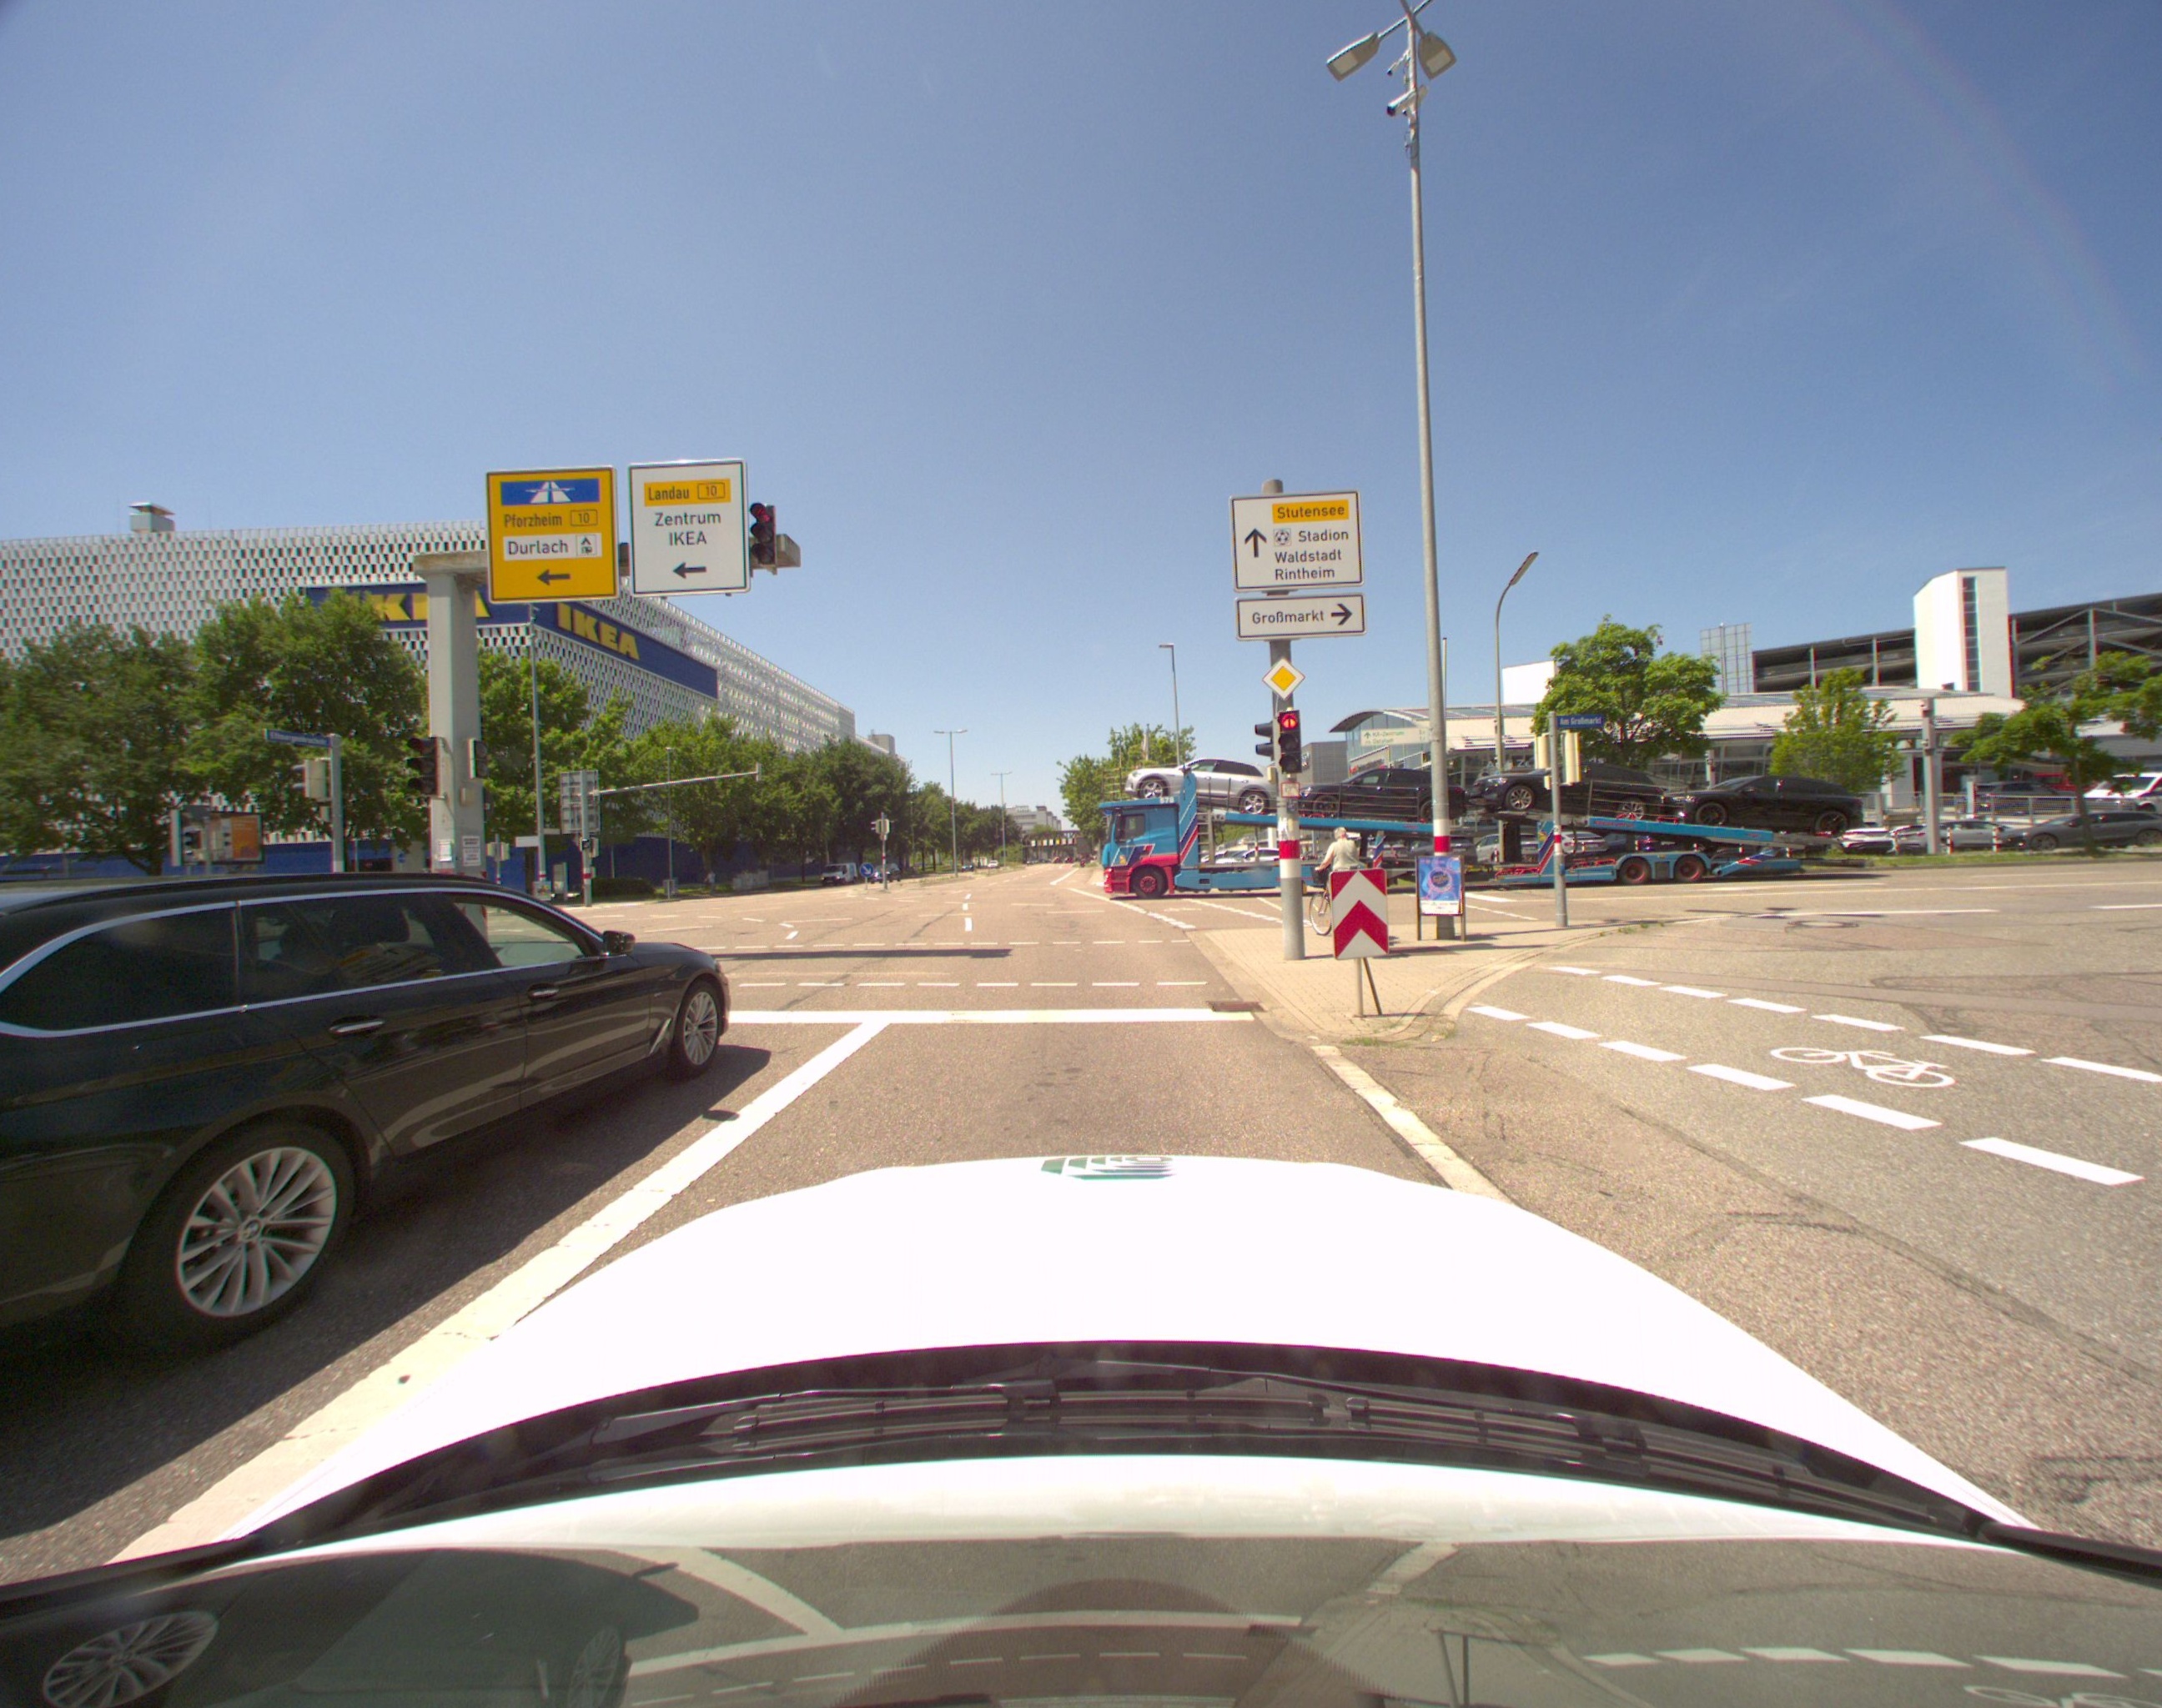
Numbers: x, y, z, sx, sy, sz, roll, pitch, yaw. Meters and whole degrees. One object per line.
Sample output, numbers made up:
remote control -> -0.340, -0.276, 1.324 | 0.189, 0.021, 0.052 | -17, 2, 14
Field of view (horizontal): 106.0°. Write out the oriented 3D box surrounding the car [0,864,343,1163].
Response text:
car -> -6.412, 0.847, 4.167 | 1.795, 1.494, 3.993 | -1, 0, -5

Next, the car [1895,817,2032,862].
car -> 38.791, -0.630, 35.935 | 3.665, 1.777, 1.759 | -3, 0, 28

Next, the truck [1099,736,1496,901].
truck -> 6.068, -0.932, 24.132 | 10.554, 4.082, 3.109 | -2, 1, 9

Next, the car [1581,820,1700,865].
car -> 22.889, -0.447, 33.537 | 1.821, 1.639, 4.475 | -3, 0, 1

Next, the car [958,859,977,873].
car -> -17.290, 1.815, 124.630 | 1.984, 2.014, 4.005 | -2, -2, 5

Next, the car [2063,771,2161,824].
car -> 45.192, -2.429, 34.322 | 5.110, 2.013, 2.000 | -3, 0, 1

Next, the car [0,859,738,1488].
car -> -3.493, 0.797, 3.781 | 1.794, 1.466, 4.622 | -1, 0, 0

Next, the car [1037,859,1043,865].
car -> -11.867, 2.342, 237.185 | 1.644, 1.653, 4.161 | -3, 0, -1

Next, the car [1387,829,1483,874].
car -> 14.498, -0.107, 33.669 | 1.987, 1.639, 4.558 | -3, 0, 1

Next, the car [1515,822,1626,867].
car -> 20.031, -0.389, 33.587 | 1.879, 1.639, 4.525 | -3, 0, 1

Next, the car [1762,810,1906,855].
car -> 30.876, -0.863, 33.623 | 1.821, 1.639, 4.475 | -3, 0, 1

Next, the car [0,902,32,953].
car -> -31.417, 2.108, 21.811 | 4.268, 1.342, 1.776 | -3, 1, 0

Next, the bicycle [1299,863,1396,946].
bicycle -> 4.053, 0.731, 12.564 | 0.785, 1.127, 1.919 | -1, 0, -3

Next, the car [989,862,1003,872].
car -> -15.676, 2.325, 150.217 | 1.918, 1.665, 4.093 | -3, -1, 4

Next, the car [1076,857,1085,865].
car -> -0.003, 0.897, 110.096 | 1.133, 1.042, 2.308 | -3, 0, 1

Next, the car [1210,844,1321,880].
car -> 8.517, 0.359, 37.921 | 4.722, 1.457, 2.002 | -2, 0, 2

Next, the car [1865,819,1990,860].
car -> 40.091, -0.674, 38.689 | 3.721, 1.772, 1.781 | -3, 0, 31

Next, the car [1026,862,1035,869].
car -> -11.634, 2.628, 188.740 | 1.726, 1.427, 3.706 | -4, -1, 1

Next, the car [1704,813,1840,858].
car -> 28.239, -0.742, 33.516 | 1.821, 1.639, 4.475 | -3, 0, 1

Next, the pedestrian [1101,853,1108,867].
pedestrian -> 2.638, 0.686, 90.322 | 0.665, 1.510, 0.736 | -2, 0, 1

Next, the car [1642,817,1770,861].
car -> 25.595, -0.610, 33.562 | 1.821, 1.639, 4.474 | -2, 1, 0

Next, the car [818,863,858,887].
car -> -21.993, 1.875, 73.835 | 1.986, 2.007, 4.765 | -3, -1, 1

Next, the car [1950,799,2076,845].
car -> 46.082, -1.541, 40.362 | 3.728, 2.013, 1.865 | -3, 0, 10

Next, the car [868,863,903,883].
car -> -16.841, 1.594, 70.335 | 1.868, 1.598, 4.497 | -3, -1, 1

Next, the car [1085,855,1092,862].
car -> 1.984, 1.228, 224.363 | 1.766, 1.728, 4.000 | -3, -1, 1

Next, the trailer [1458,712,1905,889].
trailer -> 16.034, -1.331, 22.567 | 9.555, 4.081, 3.103 | -2, 1, 9

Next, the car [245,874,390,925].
car -> -28.022, 1.663, 29.926 | 4.168, 1.652, 1.720 | -2, 0, 11

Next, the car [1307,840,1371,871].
car -> 18.659, 0.114, 58.979 | 3.972, 2.013, 2.001 | -3, 0, 1

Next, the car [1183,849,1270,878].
car -> 8.471, 0.550, 47.760 | 4.727, 1.457, 1.999 | -2, 0, -1

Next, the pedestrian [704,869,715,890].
pedestrian -> -26.383, 1.828, 57.863 | 0.460, 1.482, 0.484 | -3, -1, 5

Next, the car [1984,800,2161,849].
car -> 39.371, -1.155, 32.073 | 4.706, 1.639, 1.844 | -3, 0, 23

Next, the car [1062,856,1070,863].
car -> -4.111, 1.508, 225.042 | 1.766, 1.728, 4.000 | -3, -1, 1

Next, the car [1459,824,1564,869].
car -> 17.615, -0.293, 33.591 | 1.987, 1.639, 4.442 | -3, 0, 1

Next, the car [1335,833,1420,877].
car -> 12.134, 0.009, 33.639 | 1.987, 1.639, 4.269 | -2, 0, 1

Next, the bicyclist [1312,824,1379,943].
bicyclist -> 4.024, 0.427, 12.430 | 0.732, 1.749, 0.753 | -1, 0, -3
